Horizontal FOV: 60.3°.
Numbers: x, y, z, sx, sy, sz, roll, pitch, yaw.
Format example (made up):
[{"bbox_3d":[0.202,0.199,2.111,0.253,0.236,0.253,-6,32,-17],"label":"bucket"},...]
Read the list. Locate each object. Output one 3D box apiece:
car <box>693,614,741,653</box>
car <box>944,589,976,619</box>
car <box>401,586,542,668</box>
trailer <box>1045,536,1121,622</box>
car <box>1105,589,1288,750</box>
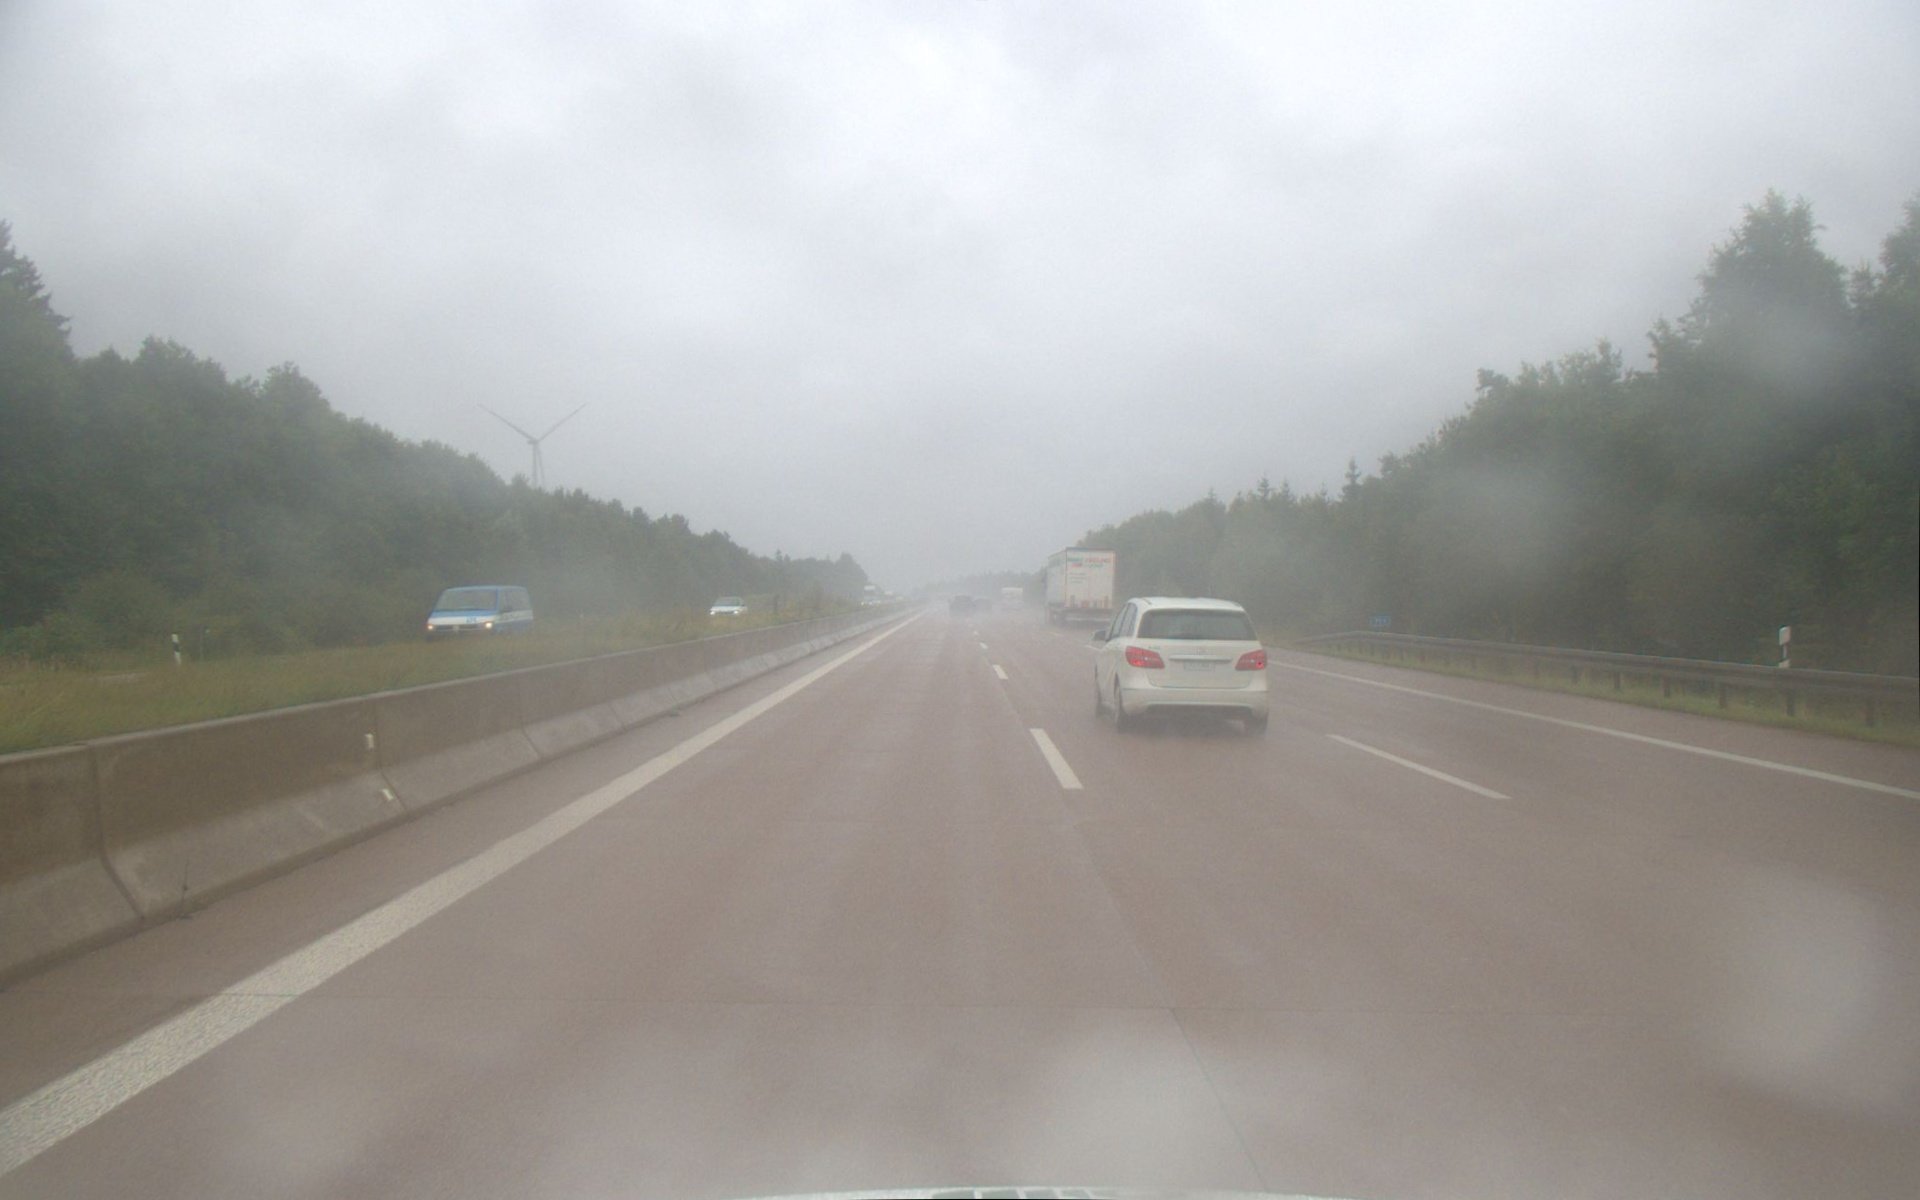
[{"bbox_3d":[-13.599,1.837,92.726,2.046,2.049,4.797,1,0,-1],"label":"car"},{"bbox_3d":[-0.023,0.280,113.806,2.129,2.016,4.130,1,0,0],"label":"car"},{"bbox_3d":[-13.144,0.693,44.890,2.260,2.049,5.661,1,0,-2],"label":"car"},{"bbox_3d":[6.538,-1.125,90.004,2.795,4.305,13.129,-1,0,-1],"label":"trailer"},{"bbox_3d":[2.871,0.786,21.006,1.771,1.758,4.745,1,0,2],"label":"car"}]
